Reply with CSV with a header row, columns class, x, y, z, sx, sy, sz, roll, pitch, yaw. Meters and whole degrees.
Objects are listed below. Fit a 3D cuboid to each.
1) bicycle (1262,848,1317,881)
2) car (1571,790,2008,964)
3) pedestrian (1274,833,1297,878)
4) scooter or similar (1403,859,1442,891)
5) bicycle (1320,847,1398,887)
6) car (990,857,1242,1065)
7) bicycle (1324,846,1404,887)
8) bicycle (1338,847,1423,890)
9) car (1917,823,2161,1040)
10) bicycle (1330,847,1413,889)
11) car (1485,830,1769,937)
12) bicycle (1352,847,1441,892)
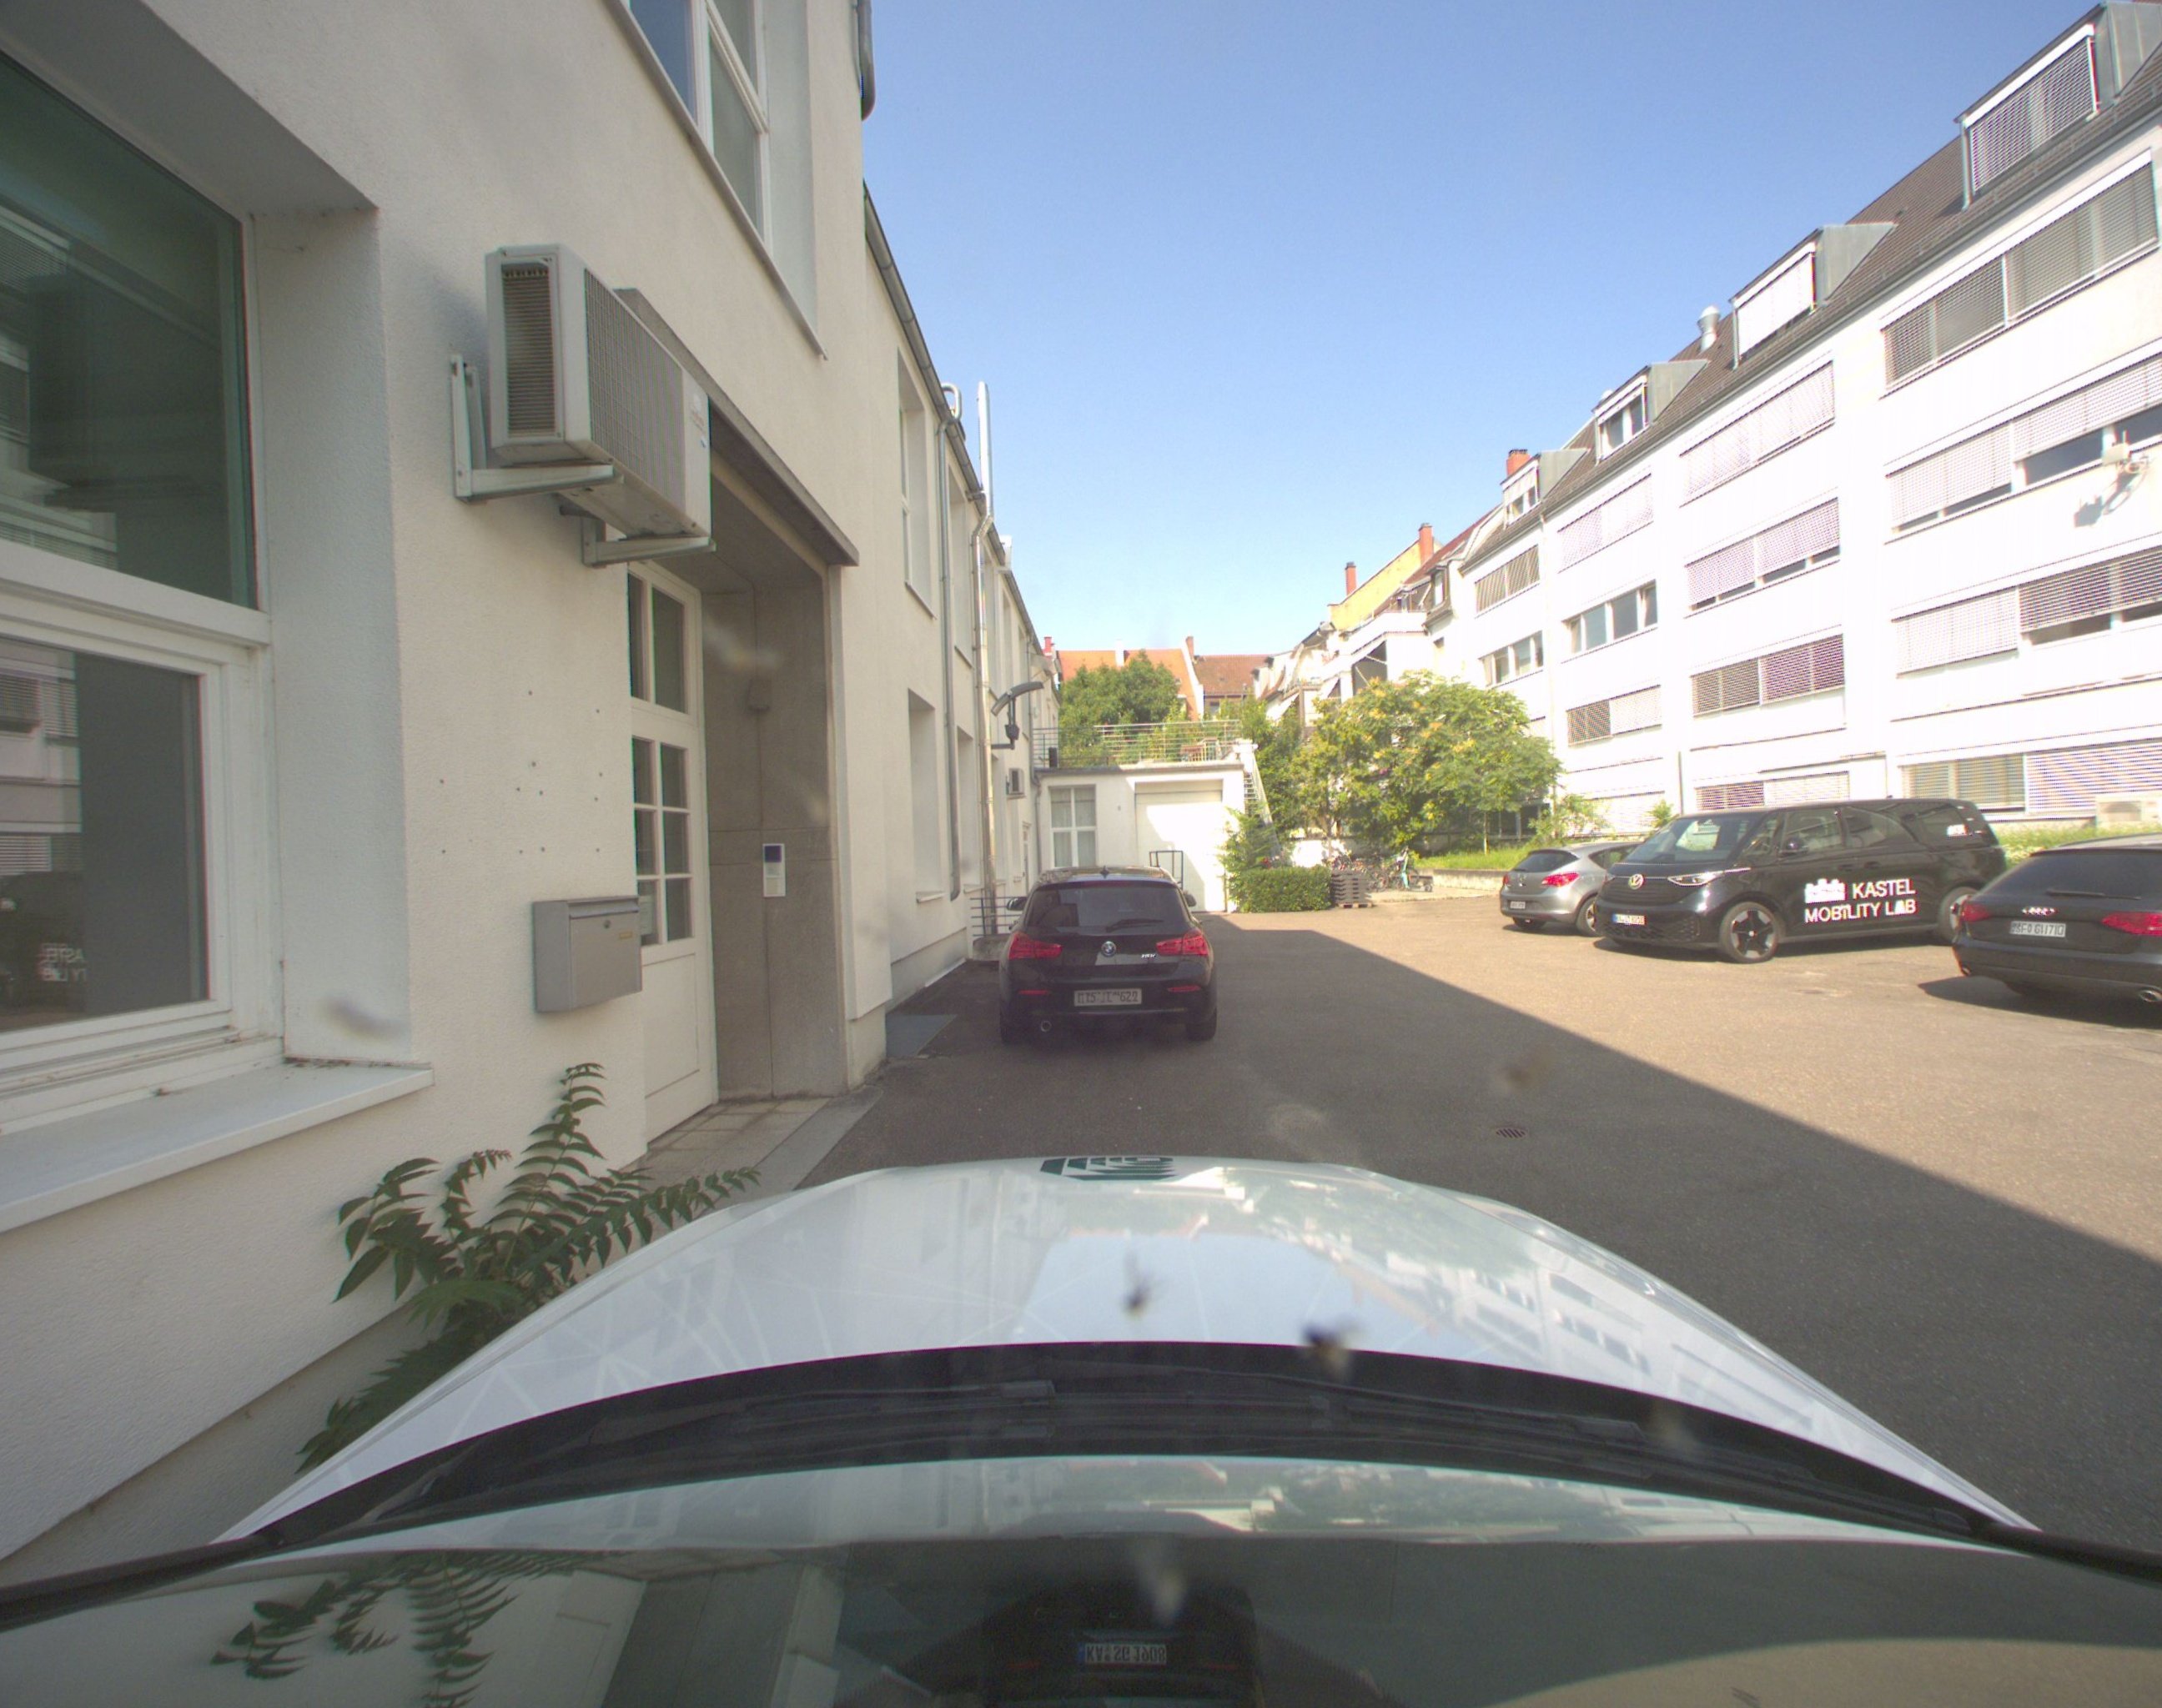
class,x,y,z,sx,sy,sz,roll,pitch,yaw
bicycle,8.187,0.412,31.944,1.981,1.143,0.489,-3,0,-1
car,9.135,0.245,10.696,4.331,1.859,1.910,-3,0,-8
pedestrian,8.060,0.057,32.177,0.608,1.771,0.860,-2,0,-3
scooter or similar,10.003,0.612,23.888,0.362,0.924,0.988,-2,0,-35
bicycle,9.229,0.432,27.073,2.401,1.246,0.527,-2,0,2
car,0.261,0.779,7.981,1.787,1.428,4.136,-2,0,0
bicycle,9.168,0.415,26.437,2.401,1.246,0.527,-2,0,2
bicycle,9.179,0.442,25.014,2.401,1.246,0.527,-2,0,2
car,9.535,0.451,6.369,4.218,1.437,1.691,-3,0,0
bicycle,9.183,0.430,25.777,2.401,1.246,0.527,-2,0,2
car,9.064,0.443,13.635,3.898,1.466,1.657,-3,0,-11
bicycle,9.387,0.453,24.279,2.401,1.246,0.527,-2,0,2
